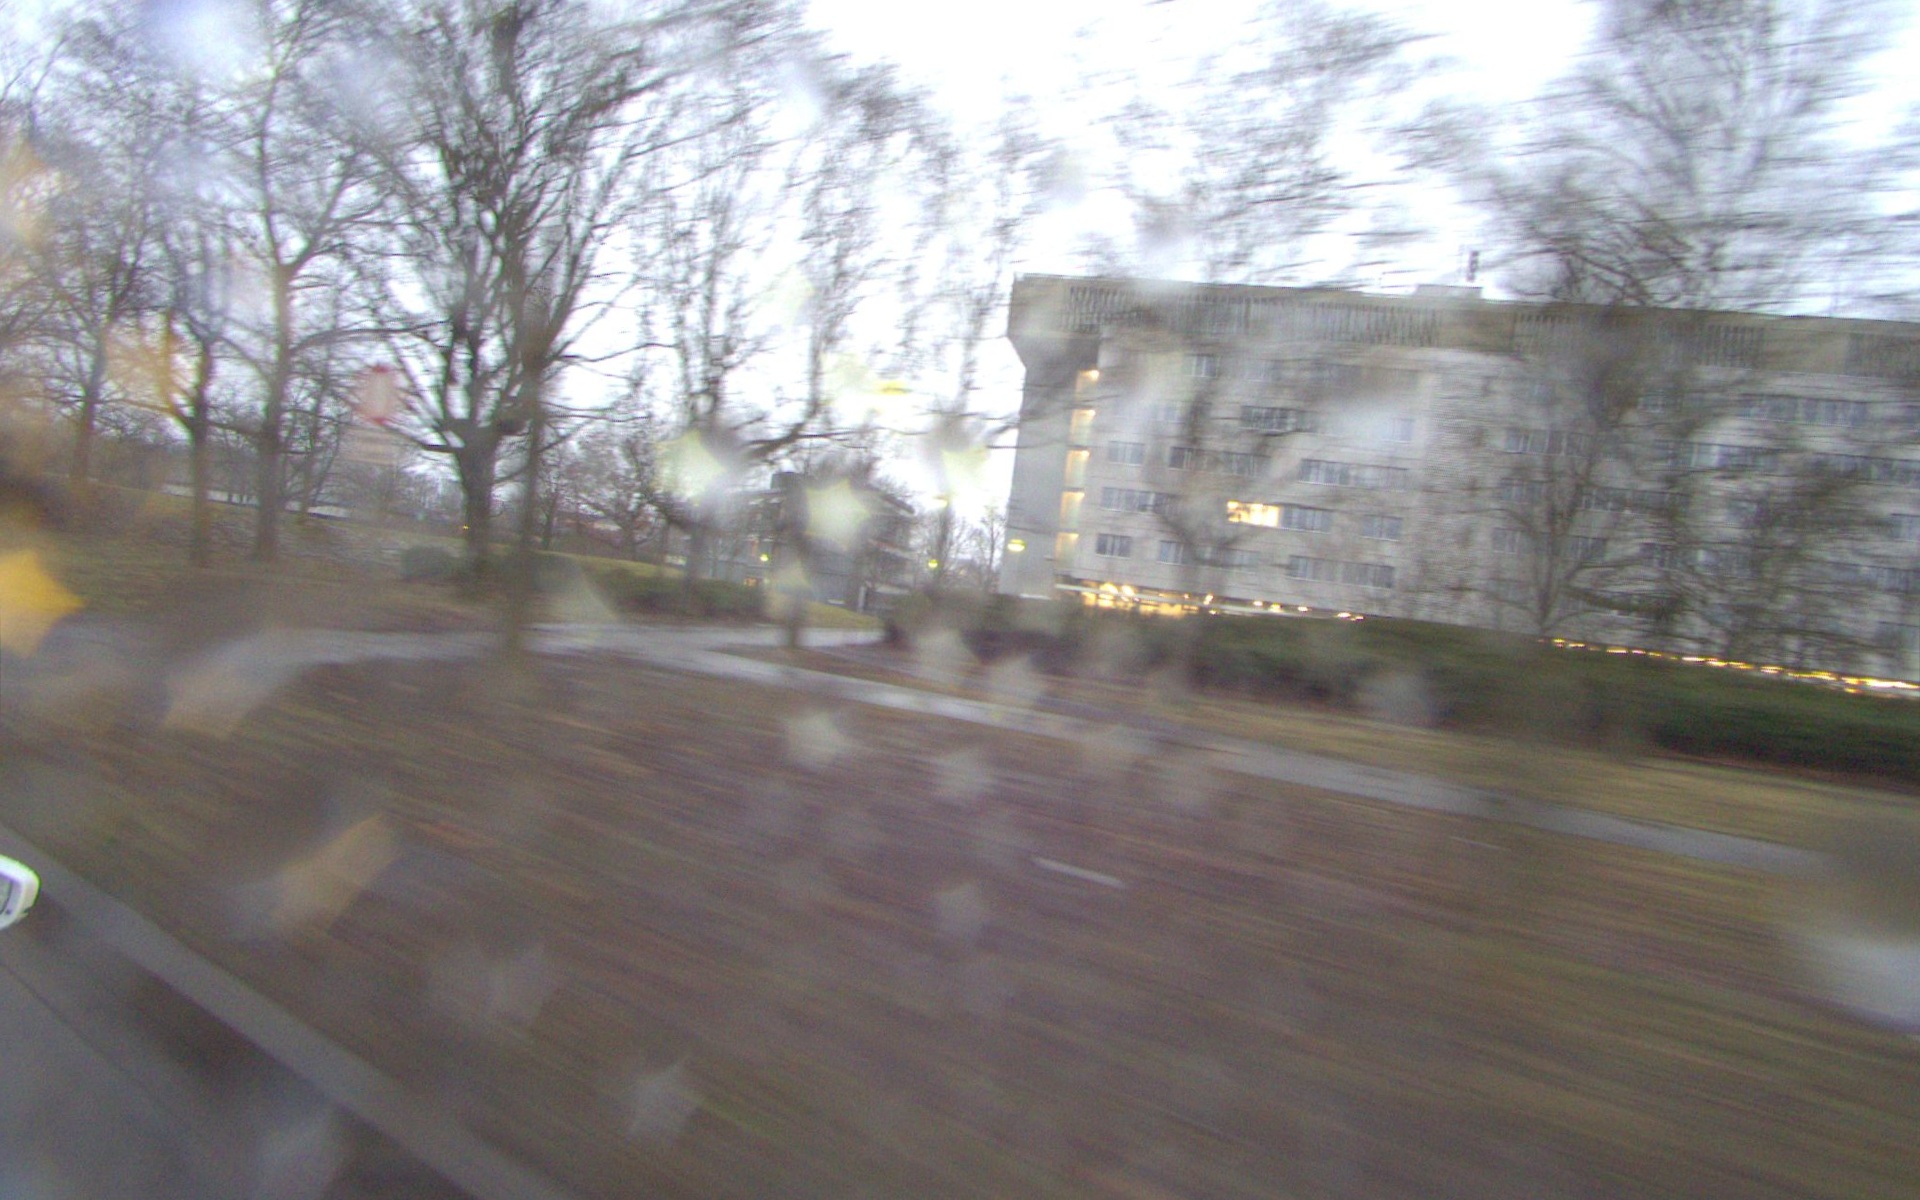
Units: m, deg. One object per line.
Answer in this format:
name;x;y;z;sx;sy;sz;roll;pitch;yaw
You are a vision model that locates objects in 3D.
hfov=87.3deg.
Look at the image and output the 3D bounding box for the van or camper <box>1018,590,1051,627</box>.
van or camper;5.645;0.654;75.328;2.094;2.373;4.481;7;-1;6
